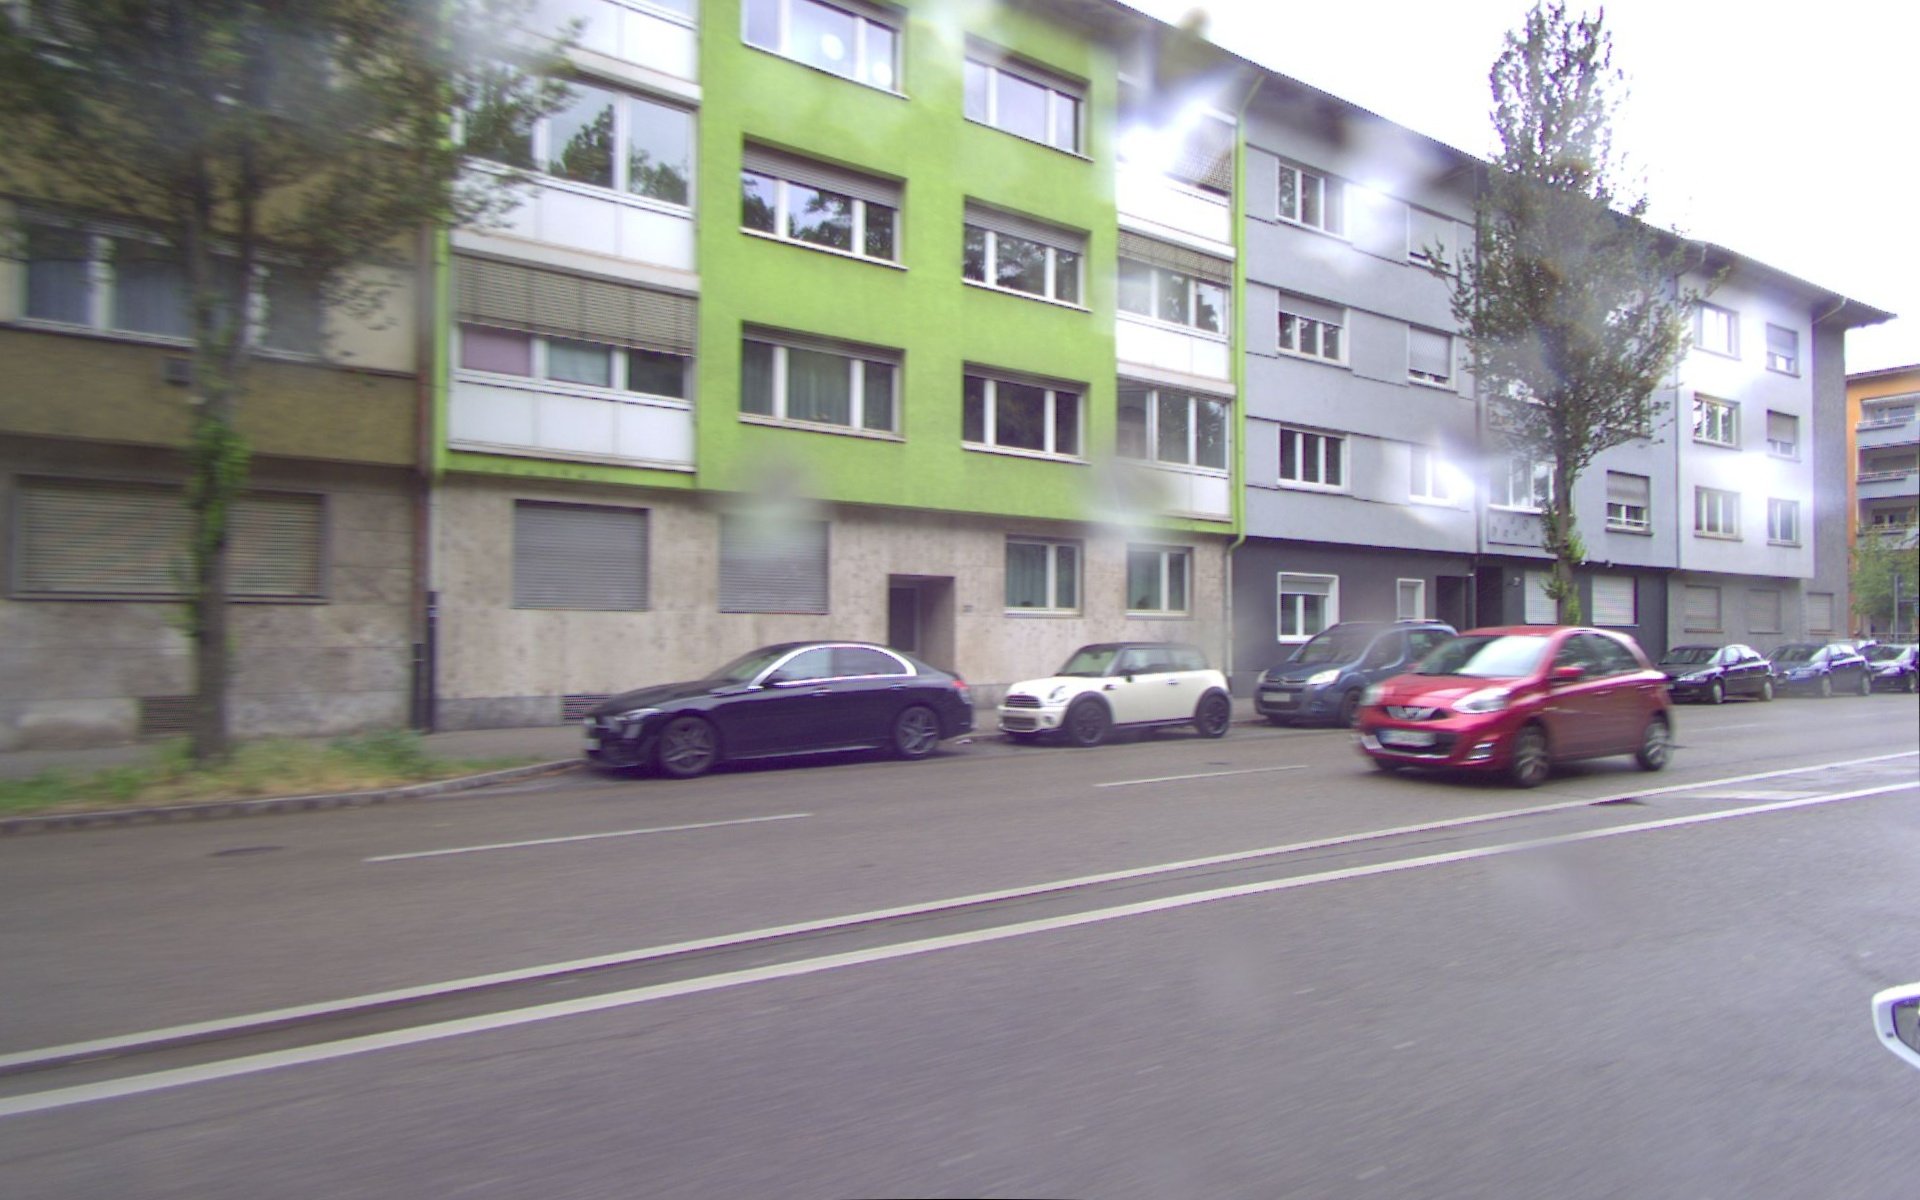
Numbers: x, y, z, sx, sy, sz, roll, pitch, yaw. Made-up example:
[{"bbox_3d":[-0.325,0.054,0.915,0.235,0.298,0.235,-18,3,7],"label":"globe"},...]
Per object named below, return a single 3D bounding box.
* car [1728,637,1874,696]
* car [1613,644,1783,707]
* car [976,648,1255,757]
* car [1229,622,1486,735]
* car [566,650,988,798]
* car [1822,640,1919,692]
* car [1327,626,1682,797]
[{"bbox_3d":[22.862,1.794,27.272,4.226,1.468,1.673,1,-5,-31],"label":"car"},{"bbox_3d":[18.007,1.808,24.449,4.527,1.375,1.680,1,-5,-31],"label":"car"},{"bbox_3d":[2.352,1.443,14.908,3.956,1.394,1.671,1,-4,-32],"label":"car"},{"bbox_3d":[7.158,1.345,17.987,4.548,1.789,1.882,1,-4,-31],"label":"car"},{"bbox_3d":[-2.073,1.343,11.967,4.632,1.390,1.807,1,-4,-34],"label":"car"},{"bbox_3d":[28.016,1.966,30.303,4.272,1.444,1.705,1,-4,-31],"label":"car"},{"bbox_3d":[5.752,1.050,10.541,3.639,1.497,1.697,1,-3,-32],"label":"car"}]
